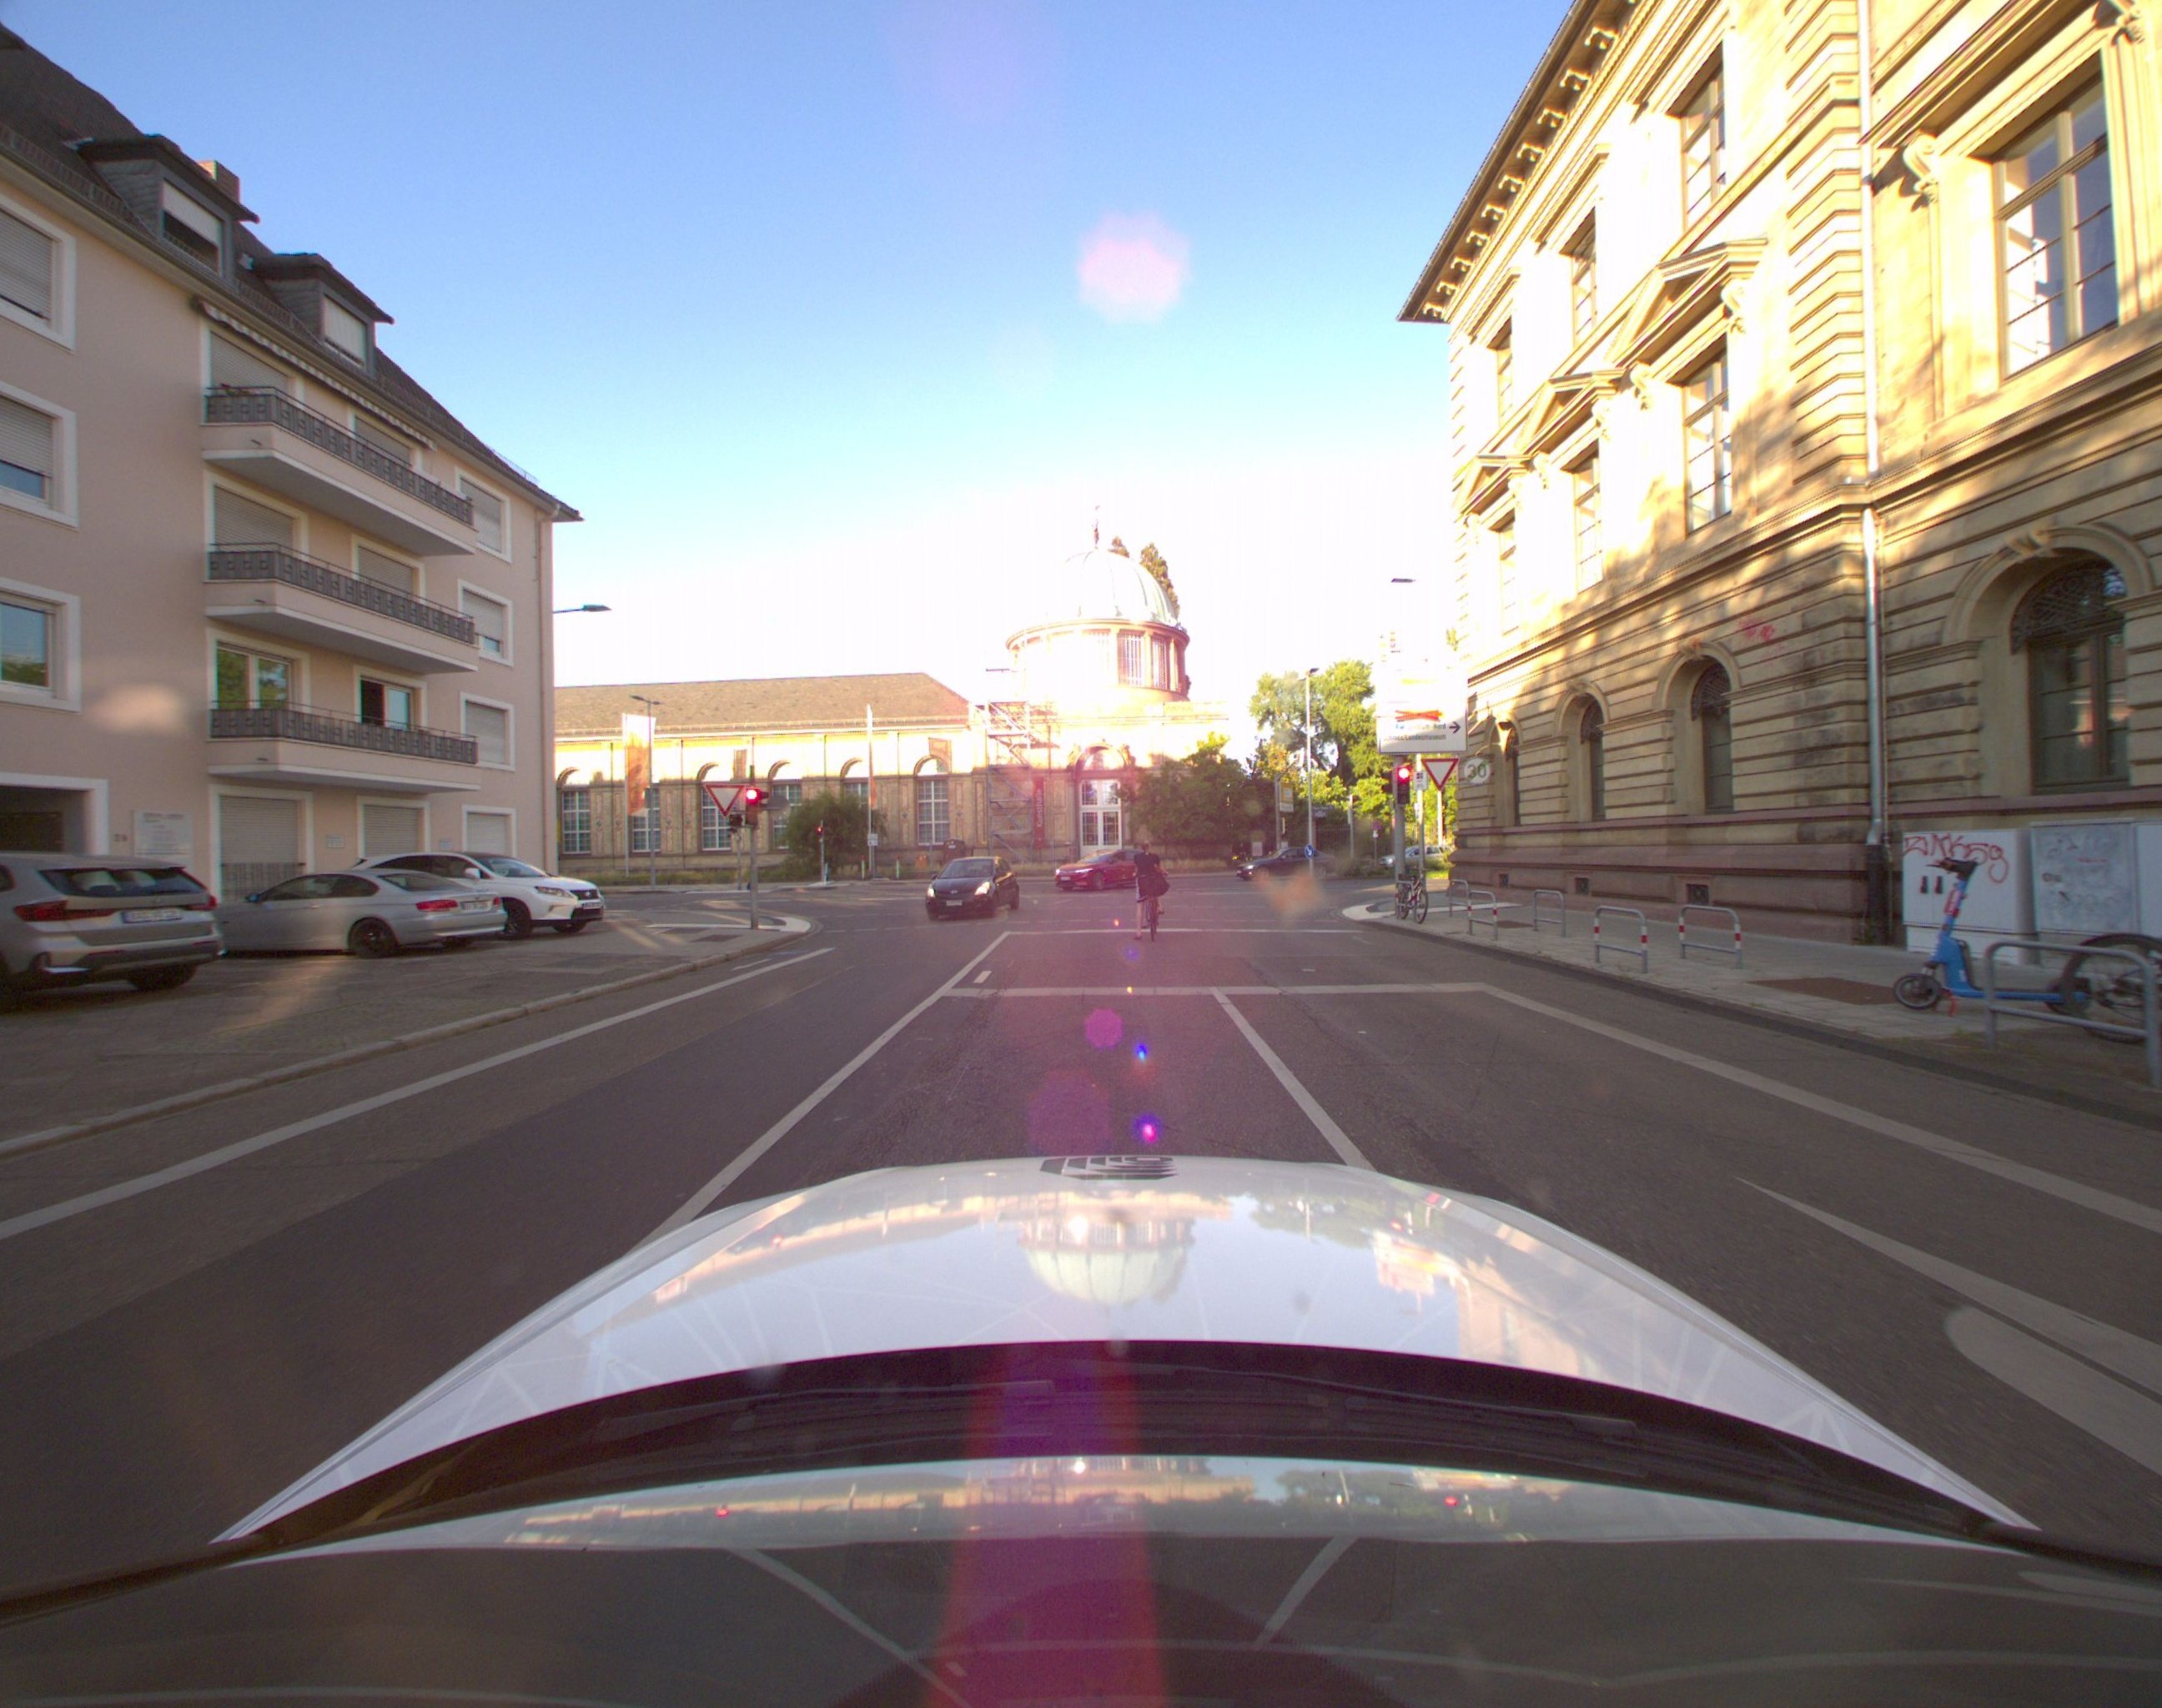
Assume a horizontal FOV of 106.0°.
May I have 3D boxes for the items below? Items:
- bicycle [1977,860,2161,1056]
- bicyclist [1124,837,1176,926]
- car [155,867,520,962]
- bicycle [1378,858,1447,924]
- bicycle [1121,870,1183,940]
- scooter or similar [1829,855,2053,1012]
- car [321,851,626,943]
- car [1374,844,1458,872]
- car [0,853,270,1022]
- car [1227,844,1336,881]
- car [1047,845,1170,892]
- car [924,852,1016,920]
[{"bbox_3d":[7.039,0.648,5.036,0.824,1.134,1.945,-4,0,2],"label":"bicycle"},{"bbox_3d":[1.224,0.479,14.334,0.710,1.502,0.854,-2,-2,16],"label":"bicyclist"},{"bbox_3d":[-11.835,0.933,13.182,4.253,1.380,1.735,0,0,-1],"label":"car"},{"bbox_3d":[6.443,0.707,15.928,0.580,1.188,1.921,-1,-1,2],"label":"bicycle"},{"bbox_3d":[1.303,0.869,14.563,0.706,1.156,2.077,-2,-2,16],"label":"bicycle"},{"bbox_3d":[6.933,0.619,6.613,1.123,1.195,0.585,-1,0,8],"label":"scooter or similar"},{"bbox_3d":[-11.647,0.784,15.871,4.426,1.641,1.942,0,0,-1],"label":"car"},{"bbox_3d":[19.398,0.224,47.201,4.176,1.445,1.713,-1,0,-4],"label":"car"},{"bbox_3d":[-11.935,0.797,8.773,4.404,1.605,1.916,0,0,-1],"label":"car"},{"bbox_3d":[9.009,0.357,36.677,4.414,1.459,1.780,-2,0,-13],"label":"car"},{"bbox_3d":[1.141,0.526,32.009,4.874,1.545,1.814,-3,1,-42],"label":"car"},{"bbox_3d":[-2.759,0.758,21.054,1.651,1.471,3.856,-2,1,2],"label":"car"}]
